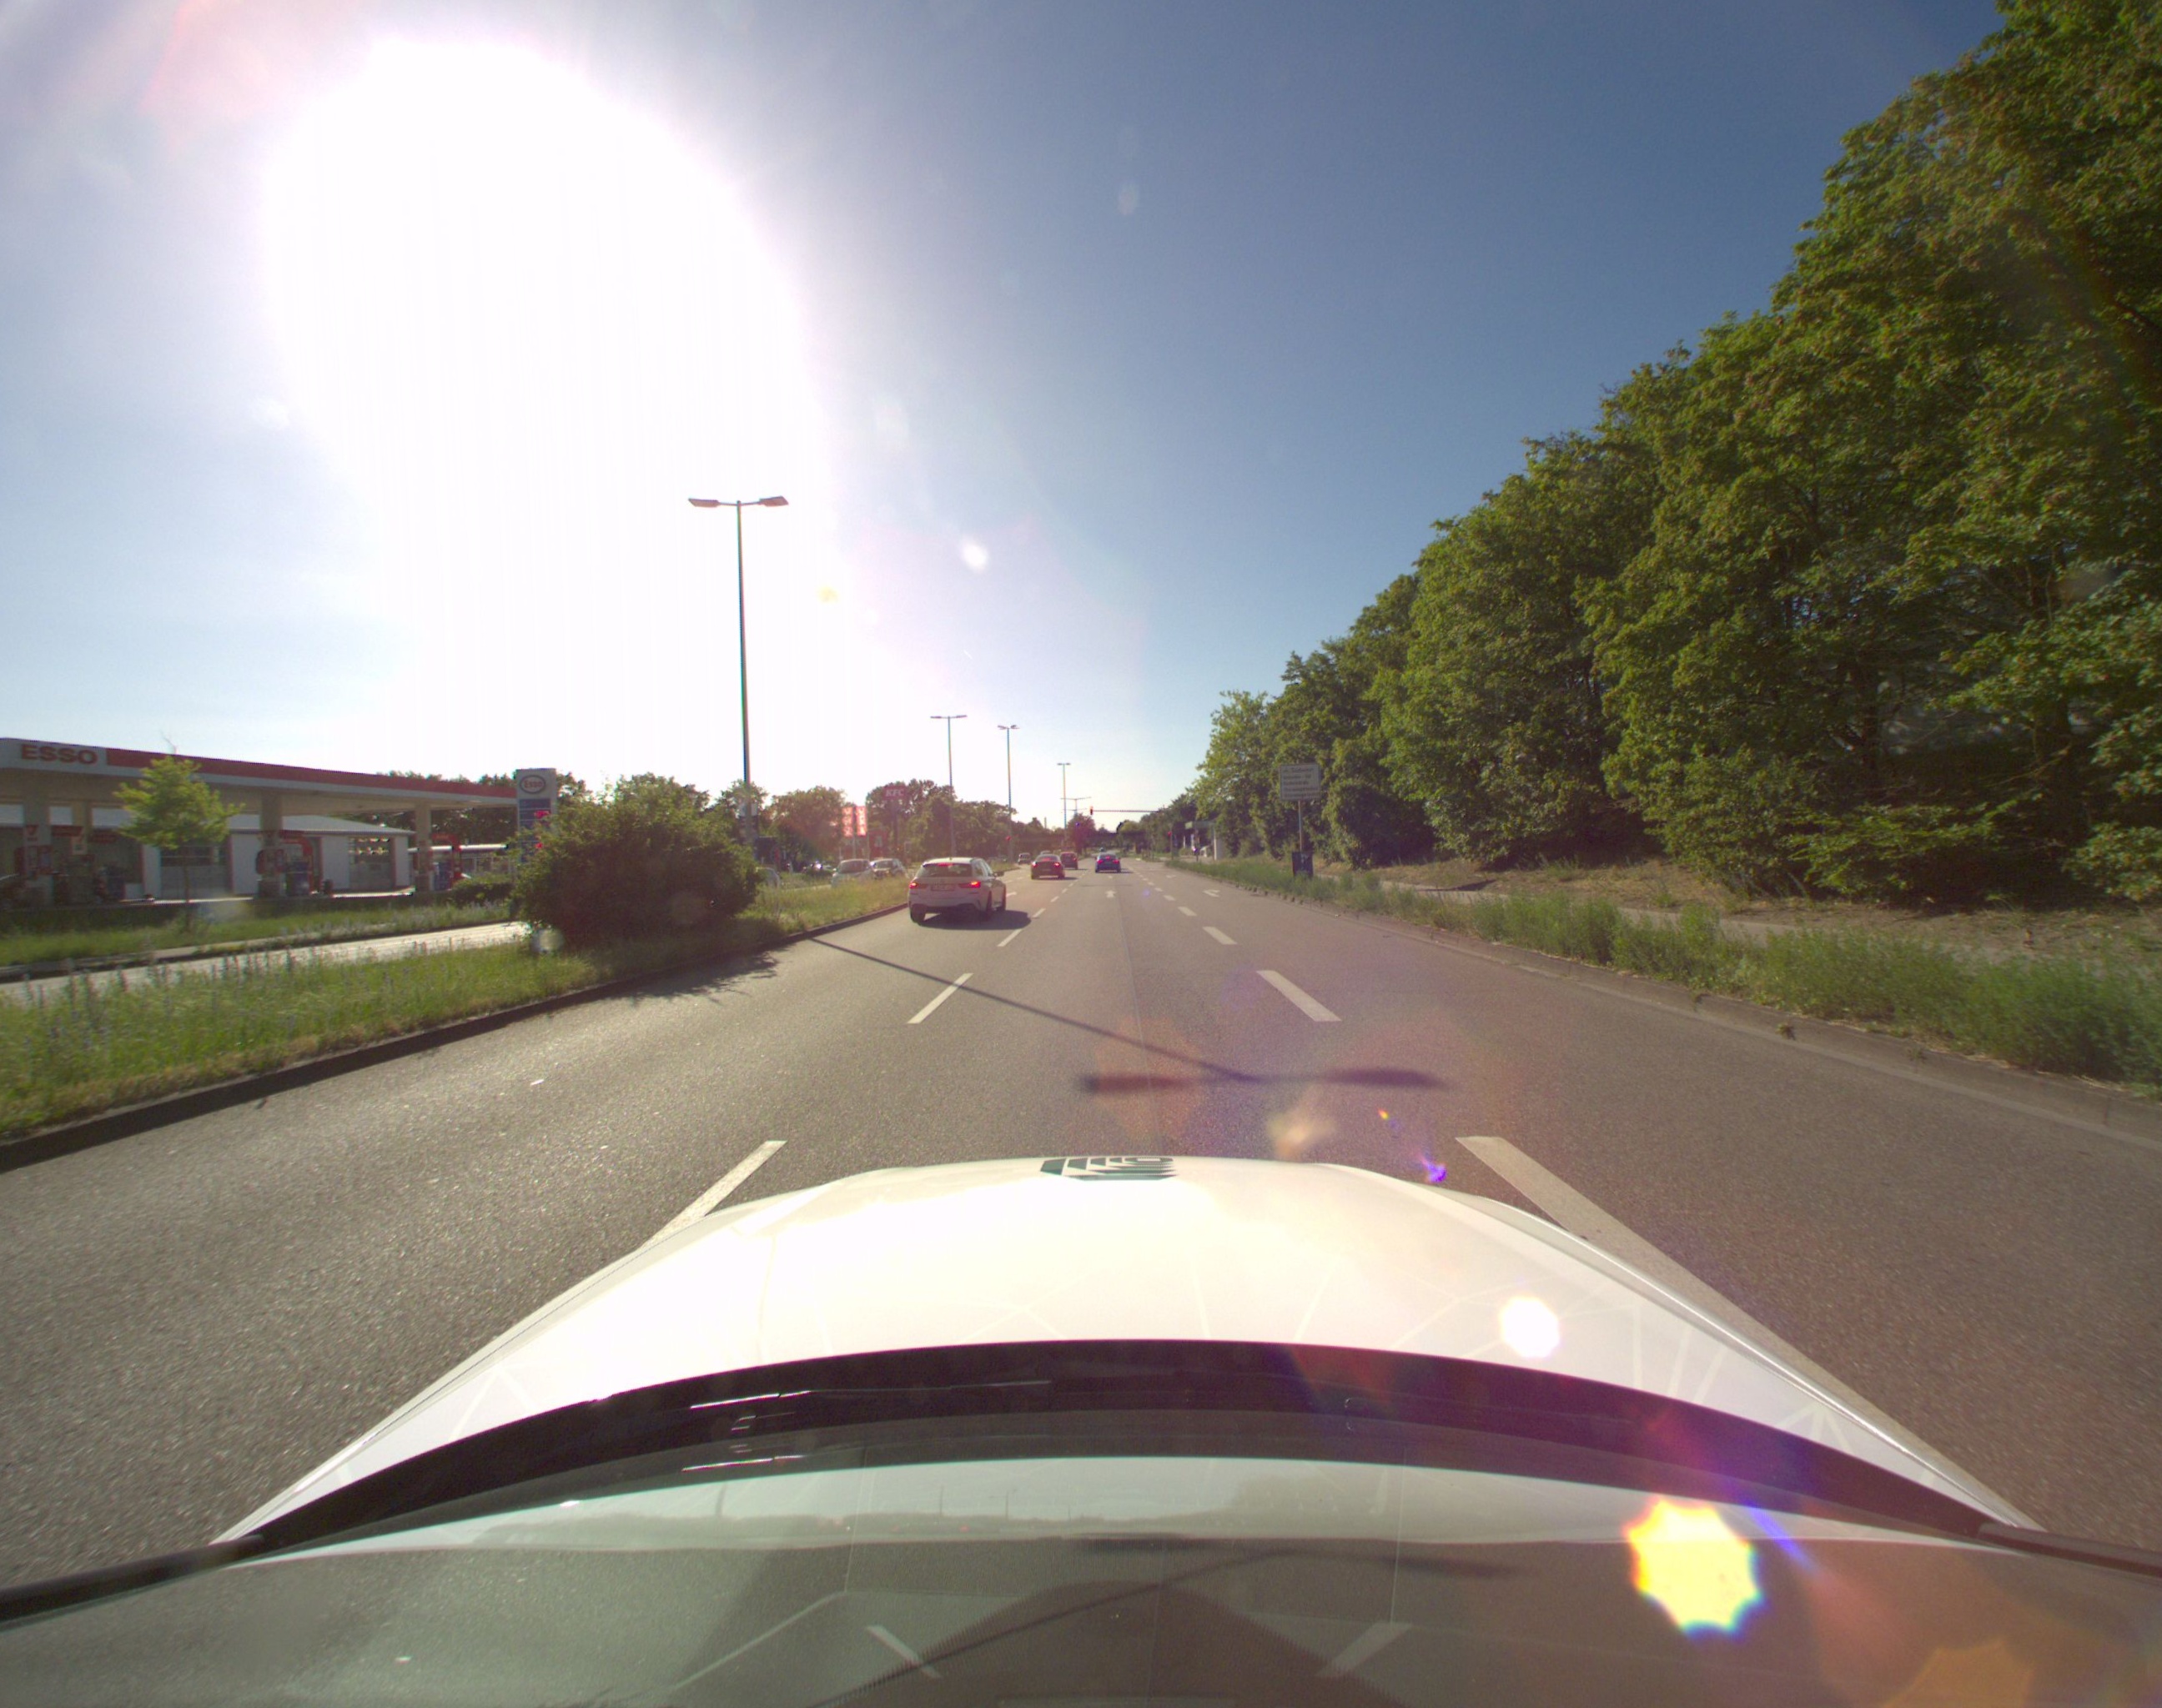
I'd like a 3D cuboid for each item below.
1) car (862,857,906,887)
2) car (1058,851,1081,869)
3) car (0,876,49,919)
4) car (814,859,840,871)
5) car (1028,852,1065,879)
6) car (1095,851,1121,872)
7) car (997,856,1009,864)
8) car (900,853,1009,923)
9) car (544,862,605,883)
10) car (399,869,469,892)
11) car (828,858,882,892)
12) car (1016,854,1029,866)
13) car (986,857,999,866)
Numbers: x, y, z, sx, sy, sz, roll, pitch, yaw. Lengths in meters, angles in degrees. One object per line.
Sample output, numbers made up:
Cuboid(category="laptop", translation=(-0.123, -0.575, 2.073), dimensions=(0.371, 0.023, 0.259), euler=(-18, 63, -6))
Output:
Cuboid(category="car", translation=(-11.494, 0.999, 47.624), dimensions=(1.529, 1.623, 3.673), euler=(-2, 0, 2))
Cuboid(category="car", translation=(-1.040, 0.519, 73.697), dimensions=(1.855, 1.565, 4.549), euler=(-1, 0, 2))
Cuboid(category="car", translation=(-40.234, 1.618, 29.334), dimensions=(3.964, 1.475, 2.005), euler=(-2, 0, 8))
Cuboid(category="car", translation=(-38.241, 1.670, 122.784), dimensions=(4.035, 1.783, 1.939), euler=(-1, 0, 42))
Cuboid(category="car", translation=(-2.002, 0.647, 48.842), dimensions=(1.855, 1.455, 4.549), euler=(-2, 0, 2))
Cuboid(category="car", translation=(2.060, 0.529, 61.279), dimensions=(1.855, 1.499, 4.338), euler=(-2, 0, 2))
Cuboid(category="car", translation=(-14.286, 1.035, 149.015), dimensions=(1.697, 1.402, 3.725), euler=(-2, 0, 2))
Cuboid(category="car", translation=(-2.962, 0.742, 20.021), dimensions=(1.855, 1.455, 4.549), euler=(-1, 0, 1))
Cuboid(category="car", translation=(-47.324, 1.701, 76.123), dimensions=(4.371, 1.842, 1.999), euler=(-2, 0, -1))
Cuboid(category="car", translation=(-50.318, 2.050, 63.418), dimensions=(1.803, 1.550, 4.297), euler=(-2, 0, 3))
Cuboid(category="car", translation=(-10.883, 0.978, 39.345), dimensions=(1.488, 1.508, 3.488), euler=(-2, 0, 2))
Cuboid(category="car", translation=(-8.750, 0.895, 122.209), dimensions=(1.529, 1.581, 3.673), euler=(-2, 0, 2))
Cuboid(category="car", translation=(-14.711, 1.264, 135.379), dimensions=(1.697, 1.402, 3.725), euler=(-2, 0, 2))
